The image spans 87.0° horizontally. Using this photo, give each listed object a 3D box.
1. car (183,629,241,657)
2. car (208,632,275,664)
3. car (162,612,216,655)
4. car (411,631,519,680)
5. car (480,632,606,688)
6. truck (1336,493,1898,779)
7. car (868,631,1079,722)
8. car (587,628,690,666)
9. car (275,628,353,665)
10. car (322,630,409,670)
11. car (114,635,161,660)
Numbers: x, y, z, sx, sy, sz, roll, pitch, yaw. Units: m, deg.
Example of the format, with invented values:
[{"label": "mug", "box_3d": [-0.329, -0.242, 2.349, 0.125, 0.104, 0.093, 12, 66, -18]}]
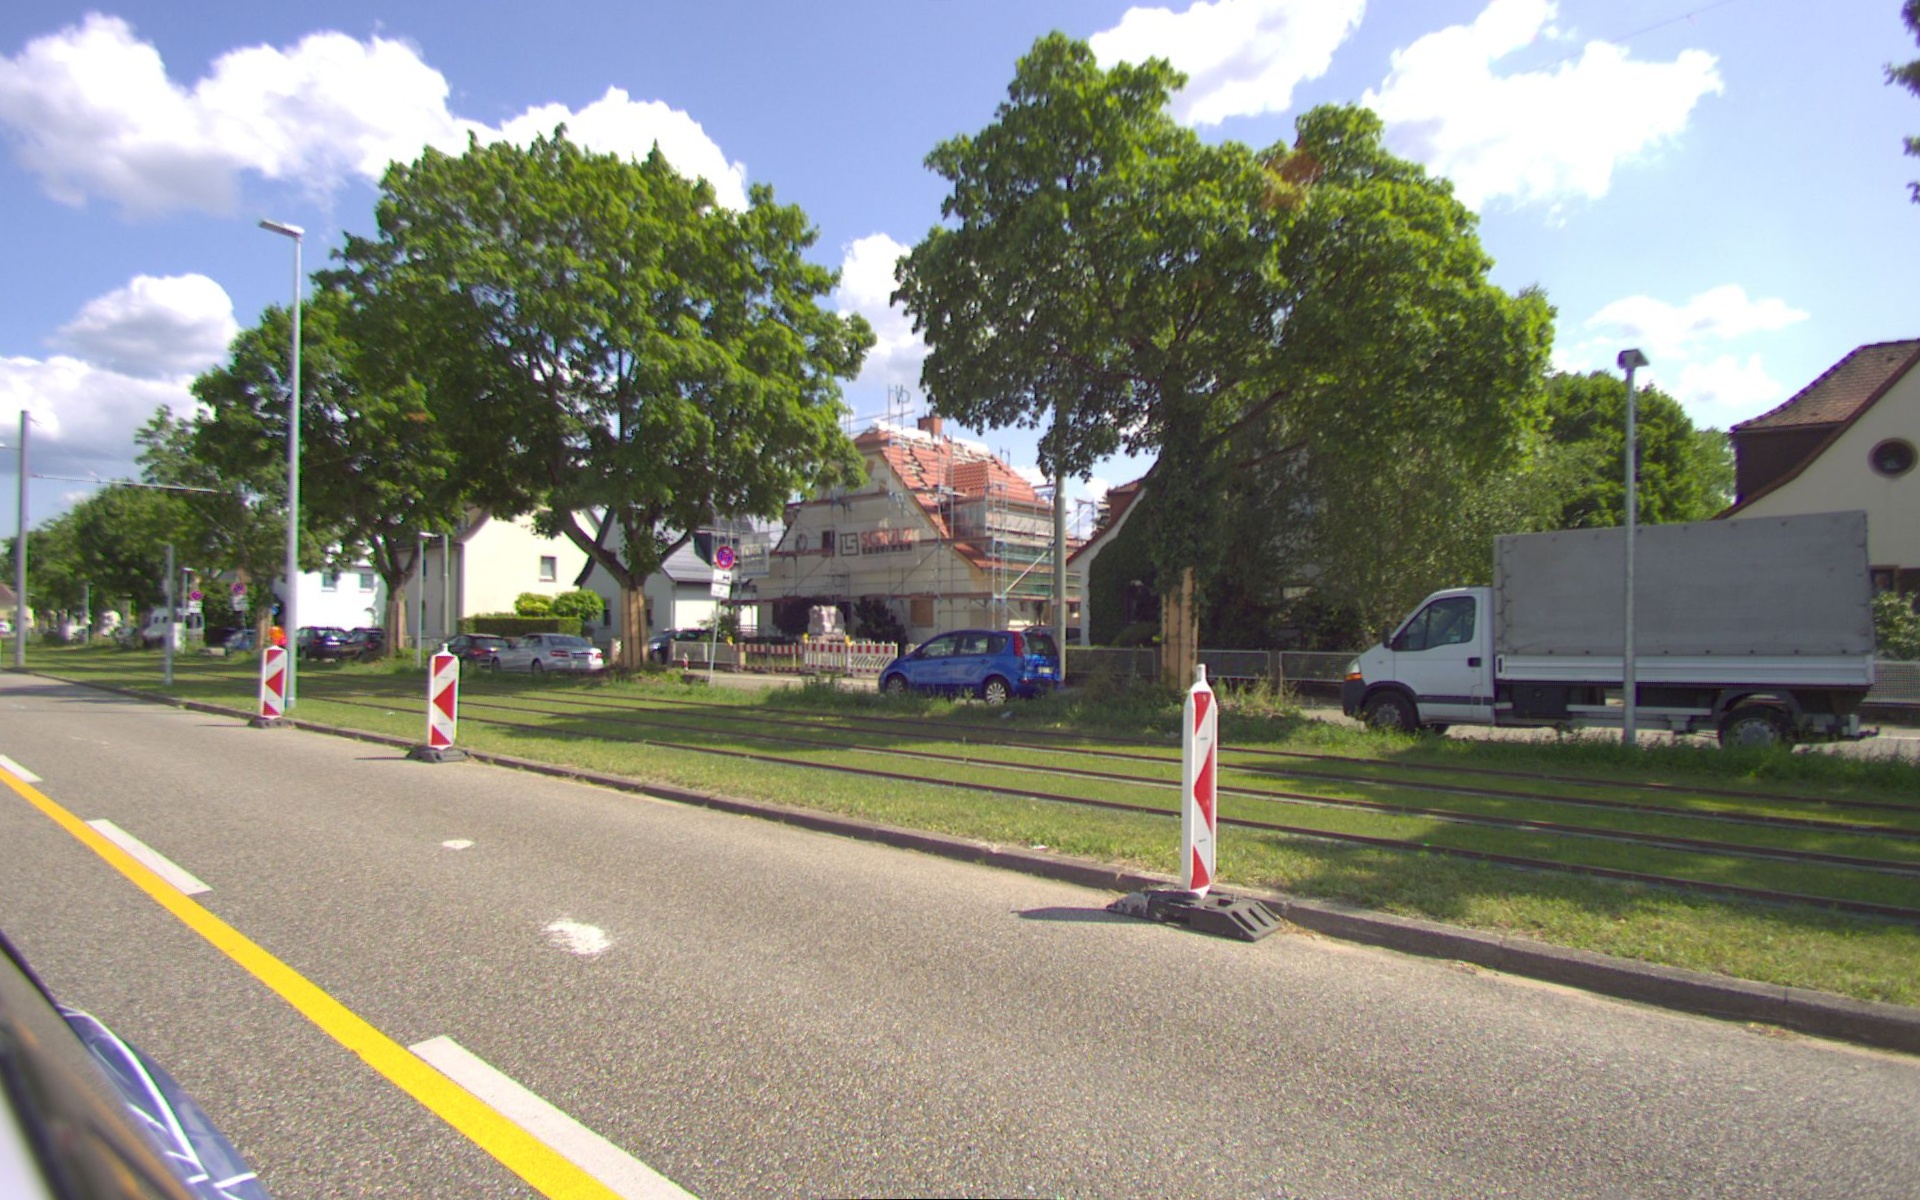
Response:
[{"label": "car", "box_3d": [-44.654, 2.554, 60.403, 4.603, 1.623, 1.733, -2, -3, 40]}, {"label": "car", "box_3d": [-37.652, 2.469, 52.978, 4.603, 1.623, 1.733, -2, -3, 40]}, {"label": "car", "box_3d": [-48.848, 2.107, 64.101, 4.603, 2.636, 1.733, -2, -3, 40]}, {"label": "car", "box_3d": [-17.621, 1.916, 35.931, 4.603, 1.623, 1.733, -2, -3, 40]}, {"label": "car", "box_3d": [-13.179, 1.832, 31.861, 4.603, 1.623, 1.733, -2, -3, 40]}, {"label": "truck", "box_3d": [8.269, 0.467, 13.357, 5.871, 3.010, 1.982, -2, -3, 41]}, {"label": "car", "box_3d": [0.209, 1.445, 20.190, 4.047, 1.623, 1.733, -2, -3, 40]}, {"label": "car", "box_3d": [-14.089, 2.048, 44.508, 1.756, 1.623, 3.995, -2, -3, 41]}, {"label": "car", "box_3d": [-29.610, 2.099, 46.330, 4.603, 1.623, 1.733, -2, -3, 40]}, {"label": "car", "box_3d": [-25.190, 2.075, 42.827, 4.603, 1.623, 1.733, -2, -3, 40]}, {"label": "car", "box_3d": [-57.032, 3.268, 70.148, 4.603, 1.623, 1.733, -2, -3, 40]}]
